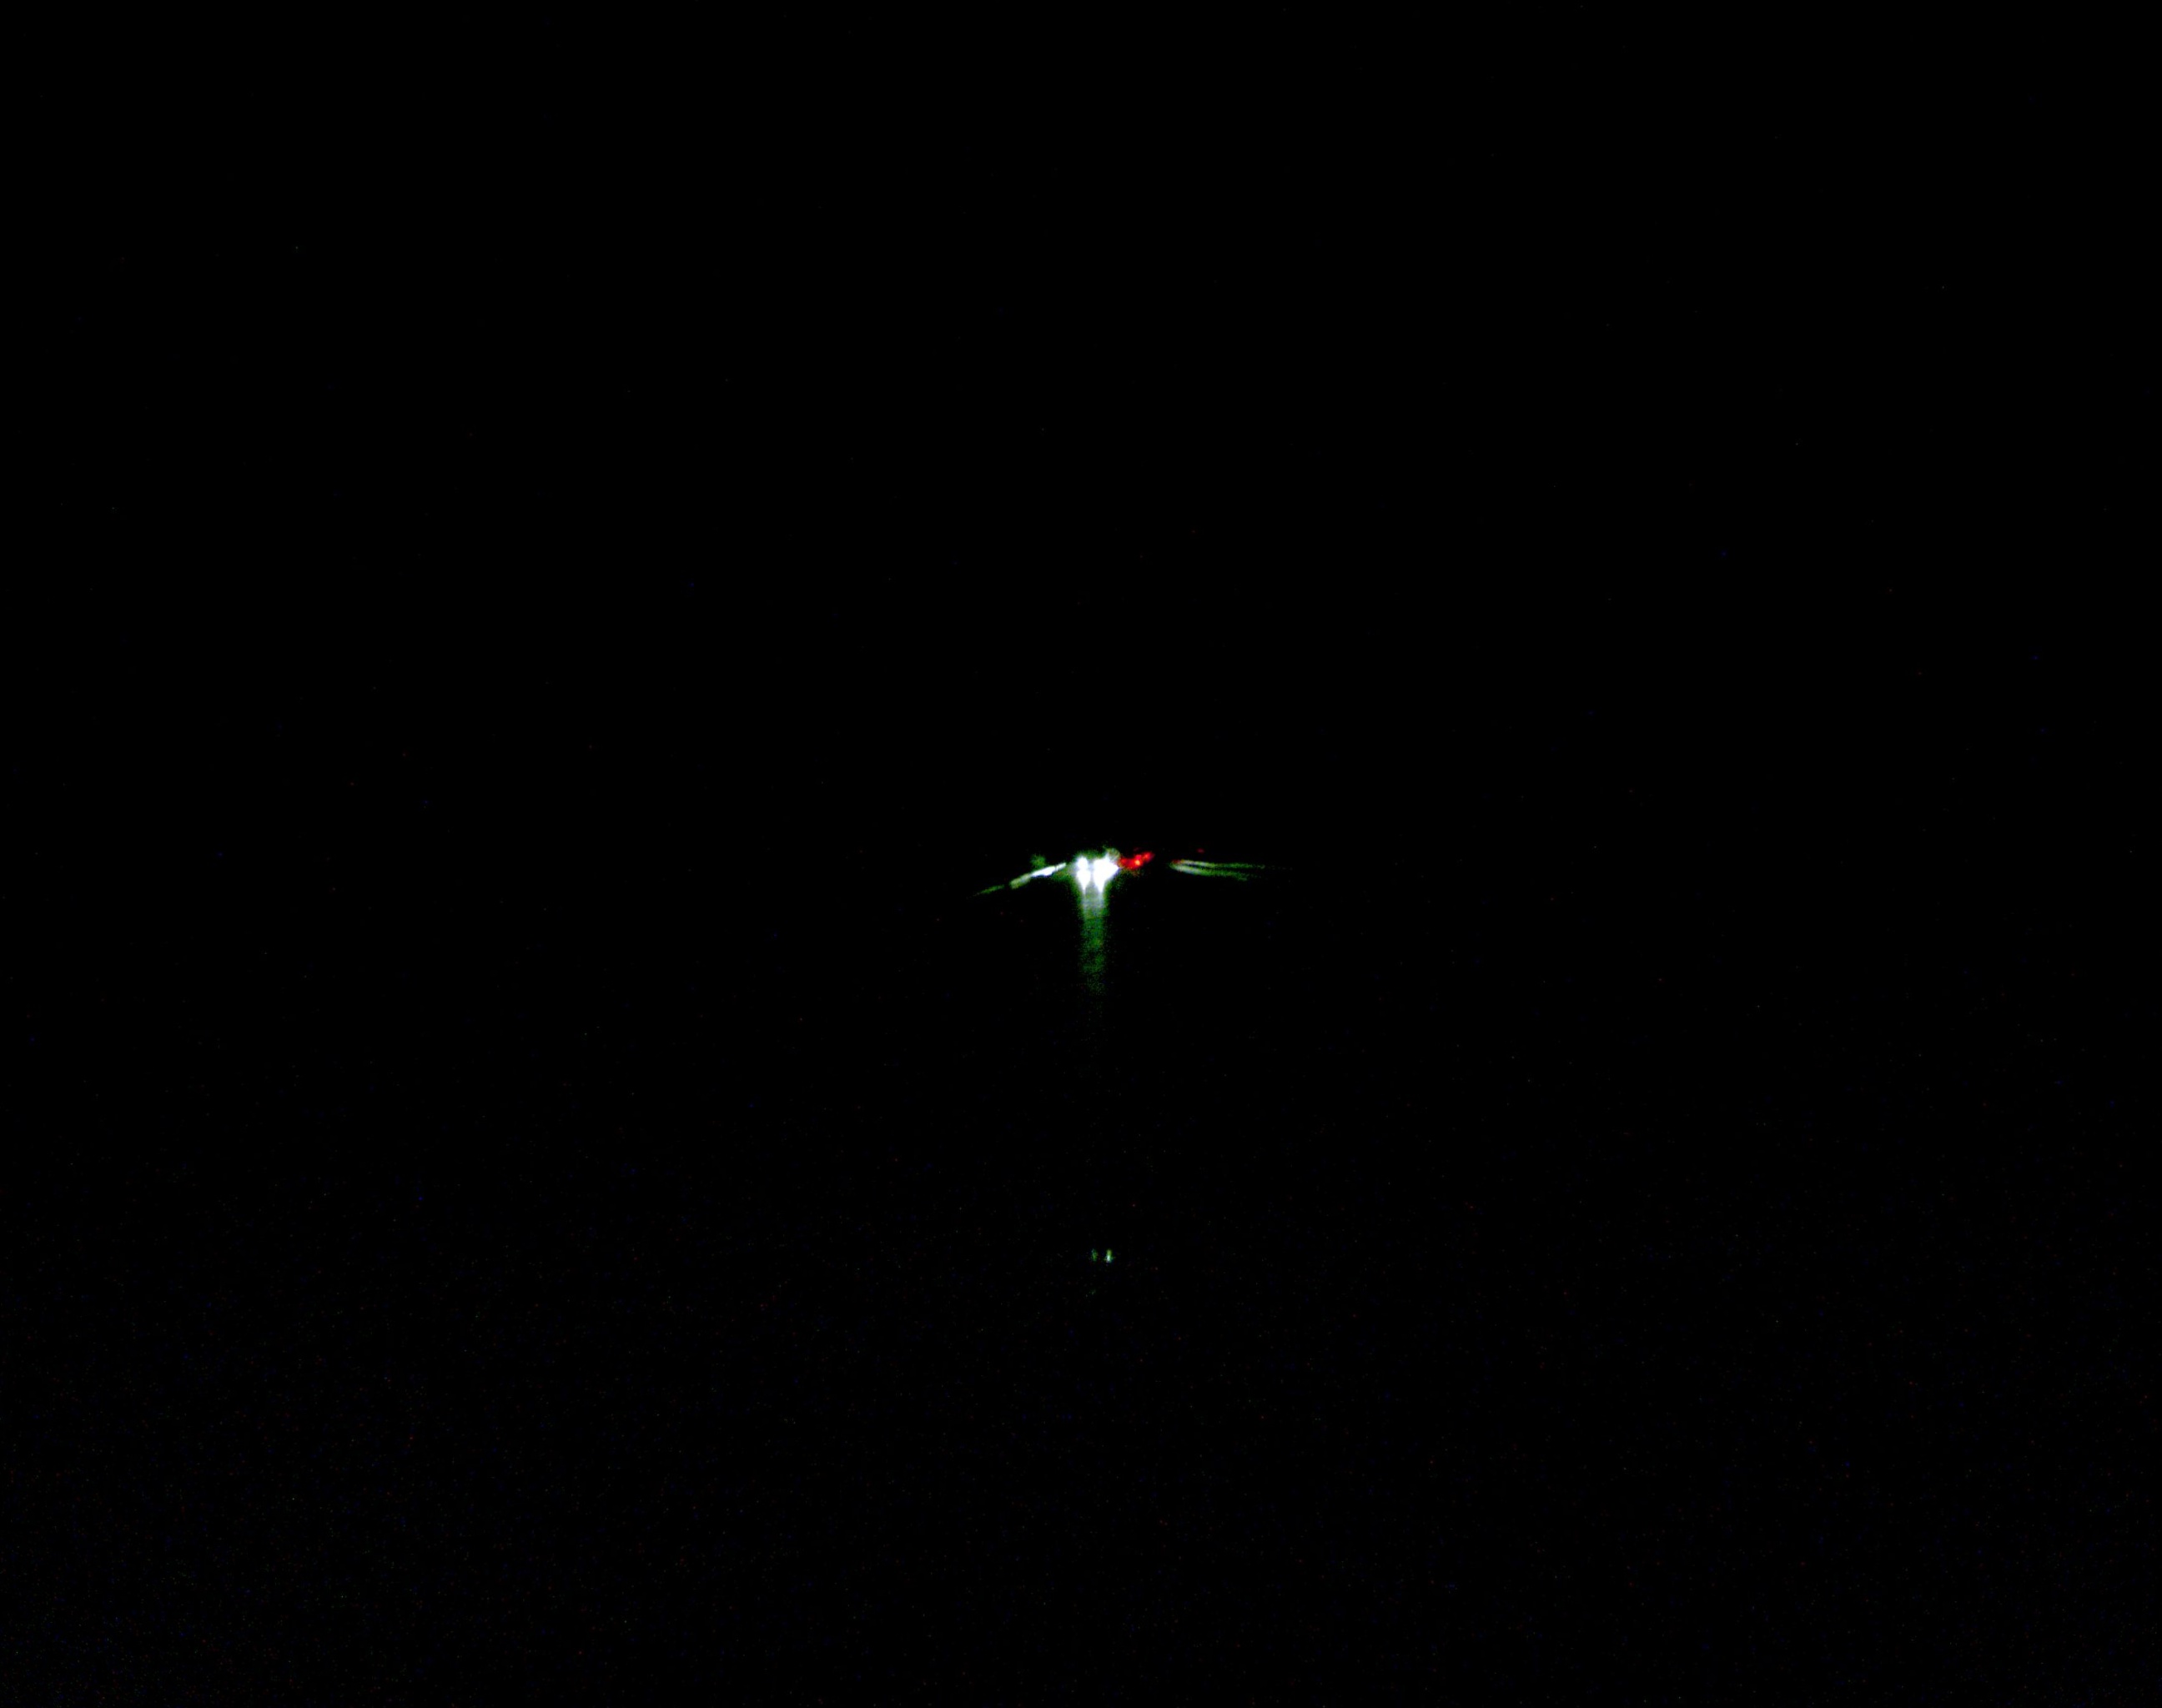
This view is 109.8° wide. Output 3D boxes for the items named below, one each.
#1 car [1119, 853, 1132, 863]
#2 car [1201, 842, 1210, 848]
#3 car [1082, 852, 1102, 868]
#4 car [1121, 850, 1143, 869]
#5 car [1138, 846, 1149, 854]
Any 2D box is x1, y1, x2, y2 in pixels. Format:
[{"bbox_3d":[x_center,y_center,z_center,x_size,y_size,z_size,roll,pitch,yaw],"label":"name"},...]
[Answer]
[{"bbox_3d":[6.766,0.555,114.833,1.809,1.331,4.189,-2,1,5],"label":"car"},{"bbox_3d":[39.837,-2.876,242.854,1.995,1.915,4.006,-1,1,25],"label":"car"},{"bbox_3d":[1.144,0.585,78.337,1.807,1.452,4.276,-2,0,3],"label":"car"},{"bbox_3d":[4.692,0.477,70.473,1.839,1.536,4.645,-2,1,1],"label":"car"},{"bbox_3d":[11.681,-0.803,141.488,1.998,1.463,3.838,-2,0,6],"label":"car"}]
